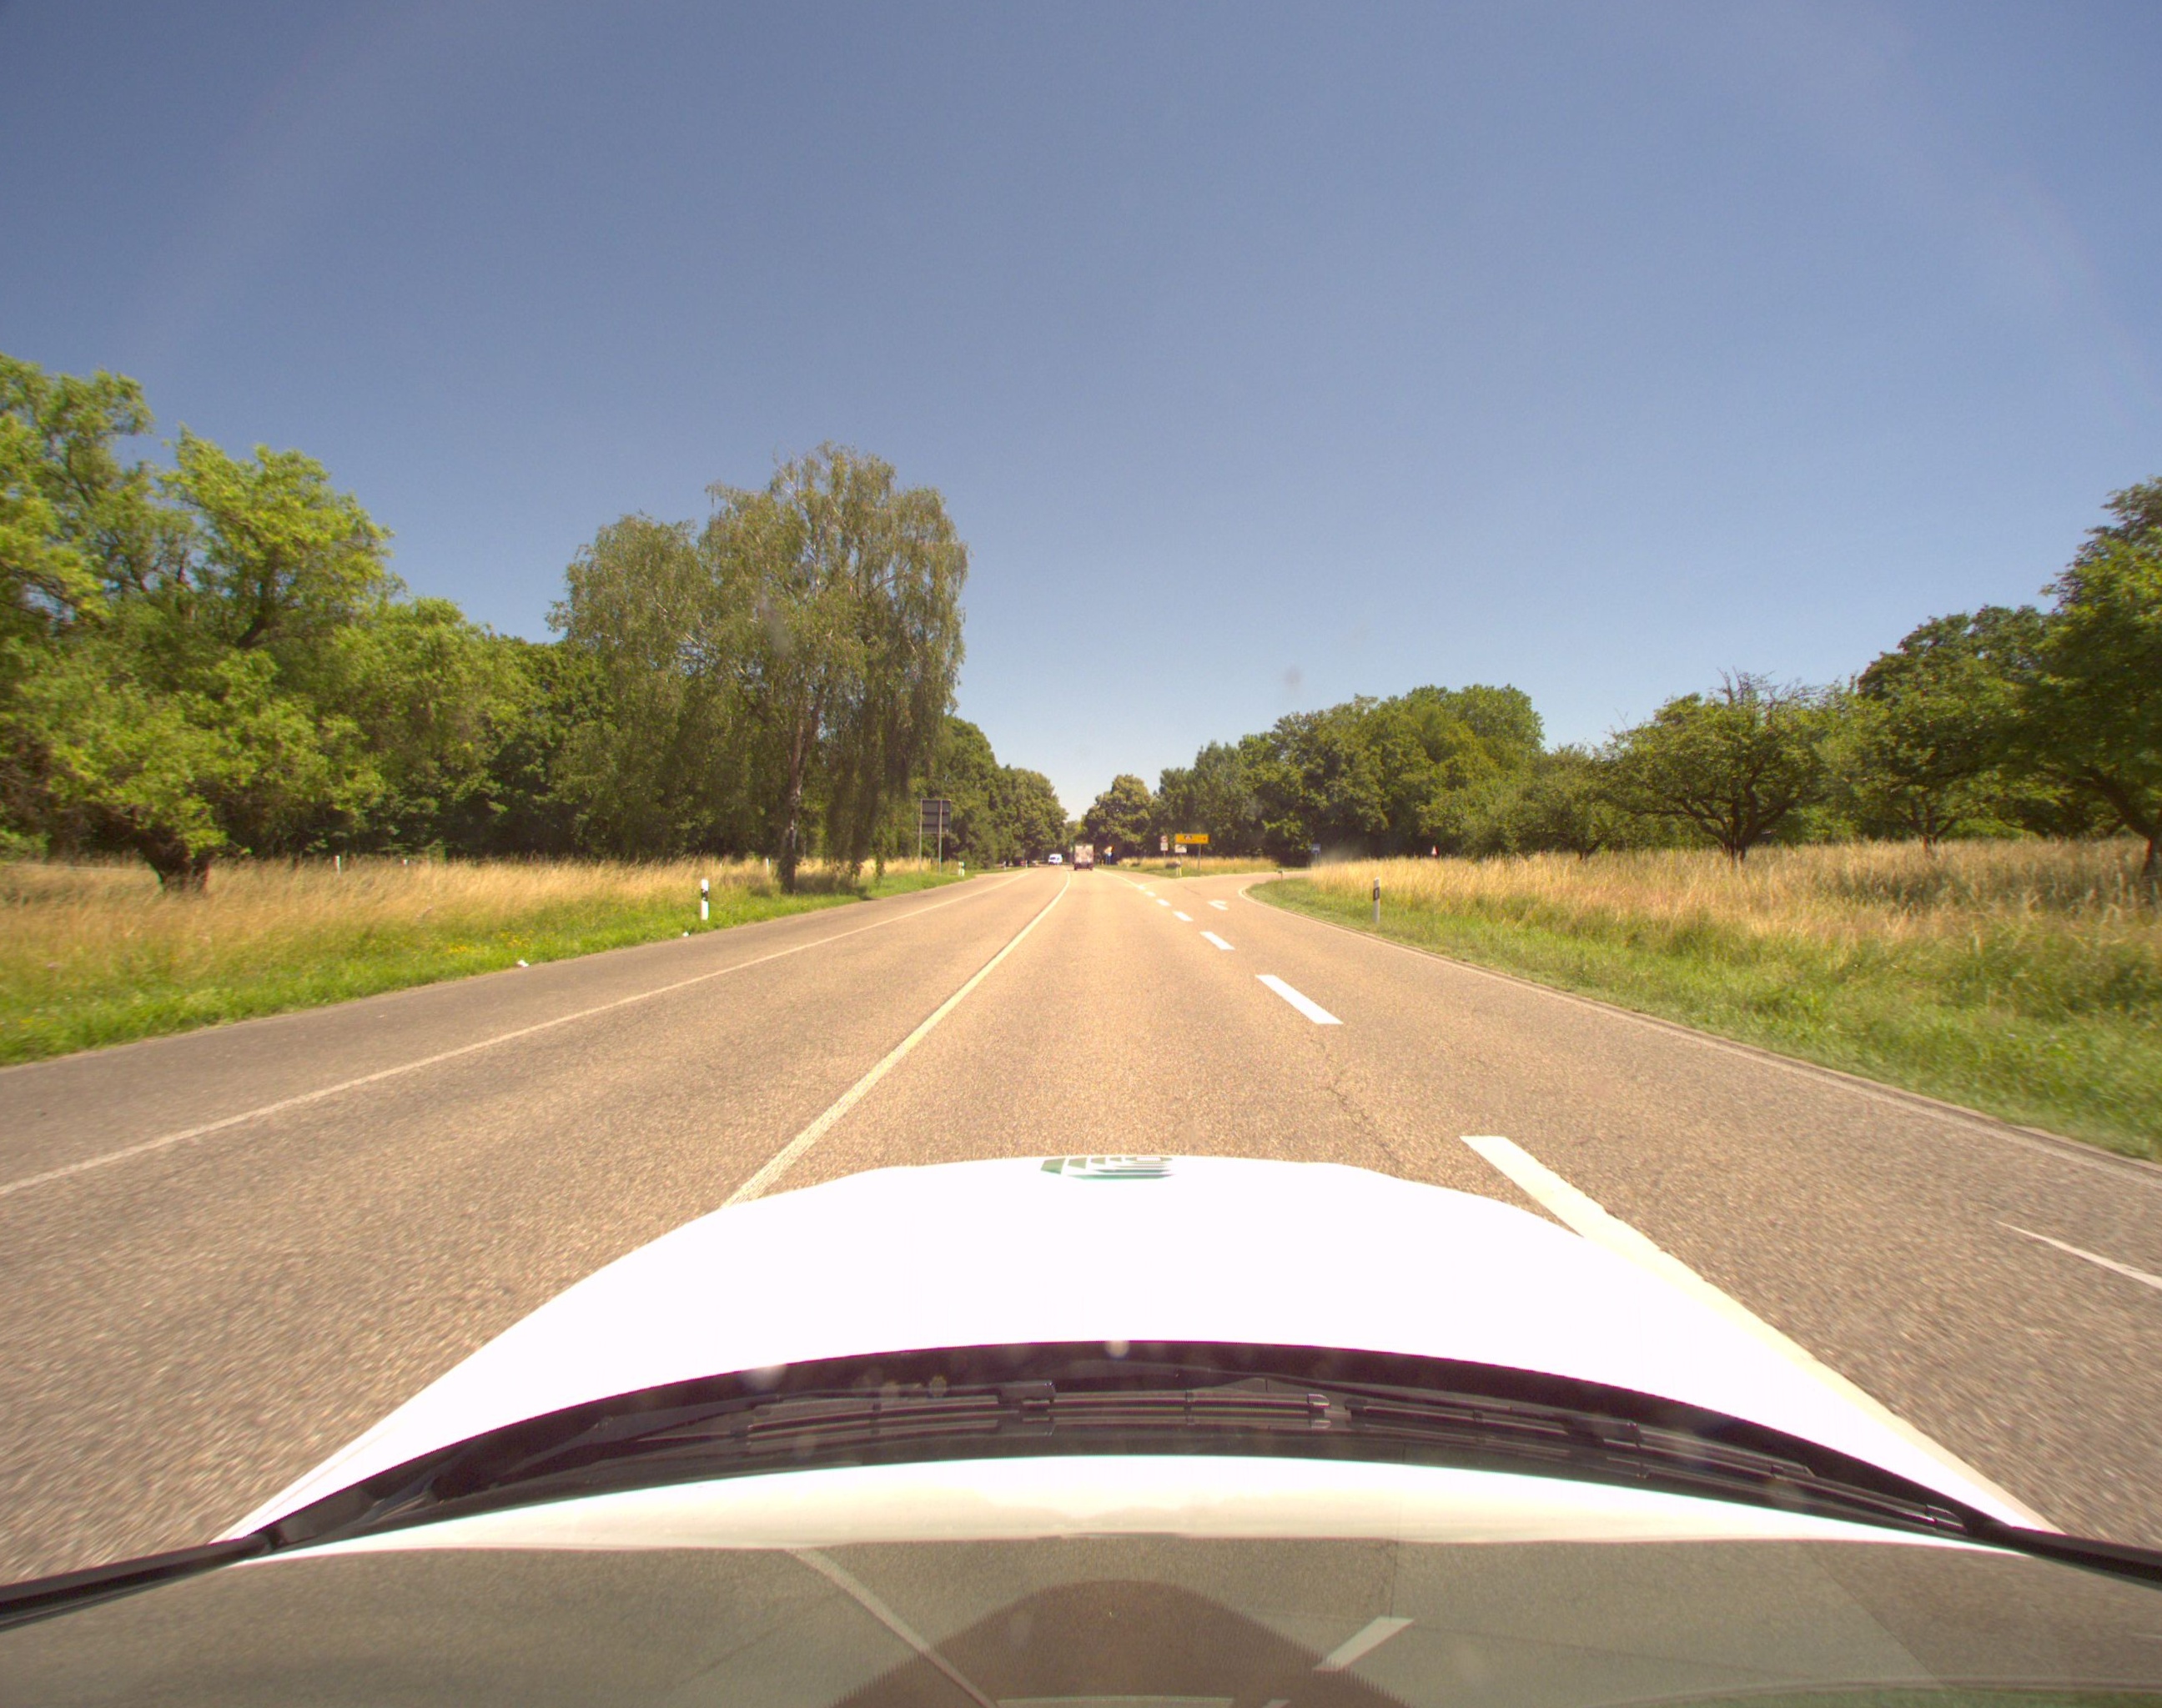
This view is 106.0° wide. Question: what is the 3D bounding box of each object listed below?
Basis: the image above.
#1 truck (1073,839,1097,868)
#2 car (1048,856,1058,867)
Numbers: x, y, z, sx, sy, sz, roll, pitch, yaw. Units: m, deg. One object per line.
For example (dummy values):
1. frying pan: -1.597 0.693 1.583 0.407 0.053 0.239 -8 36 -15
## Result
1. truck: 0.520 -0.058 92.148 2.524 3.135 5.364 -1 0 2
2. car: -6.972 1.805 202.607 2.066 2.628 6.783 -1 -1 0
